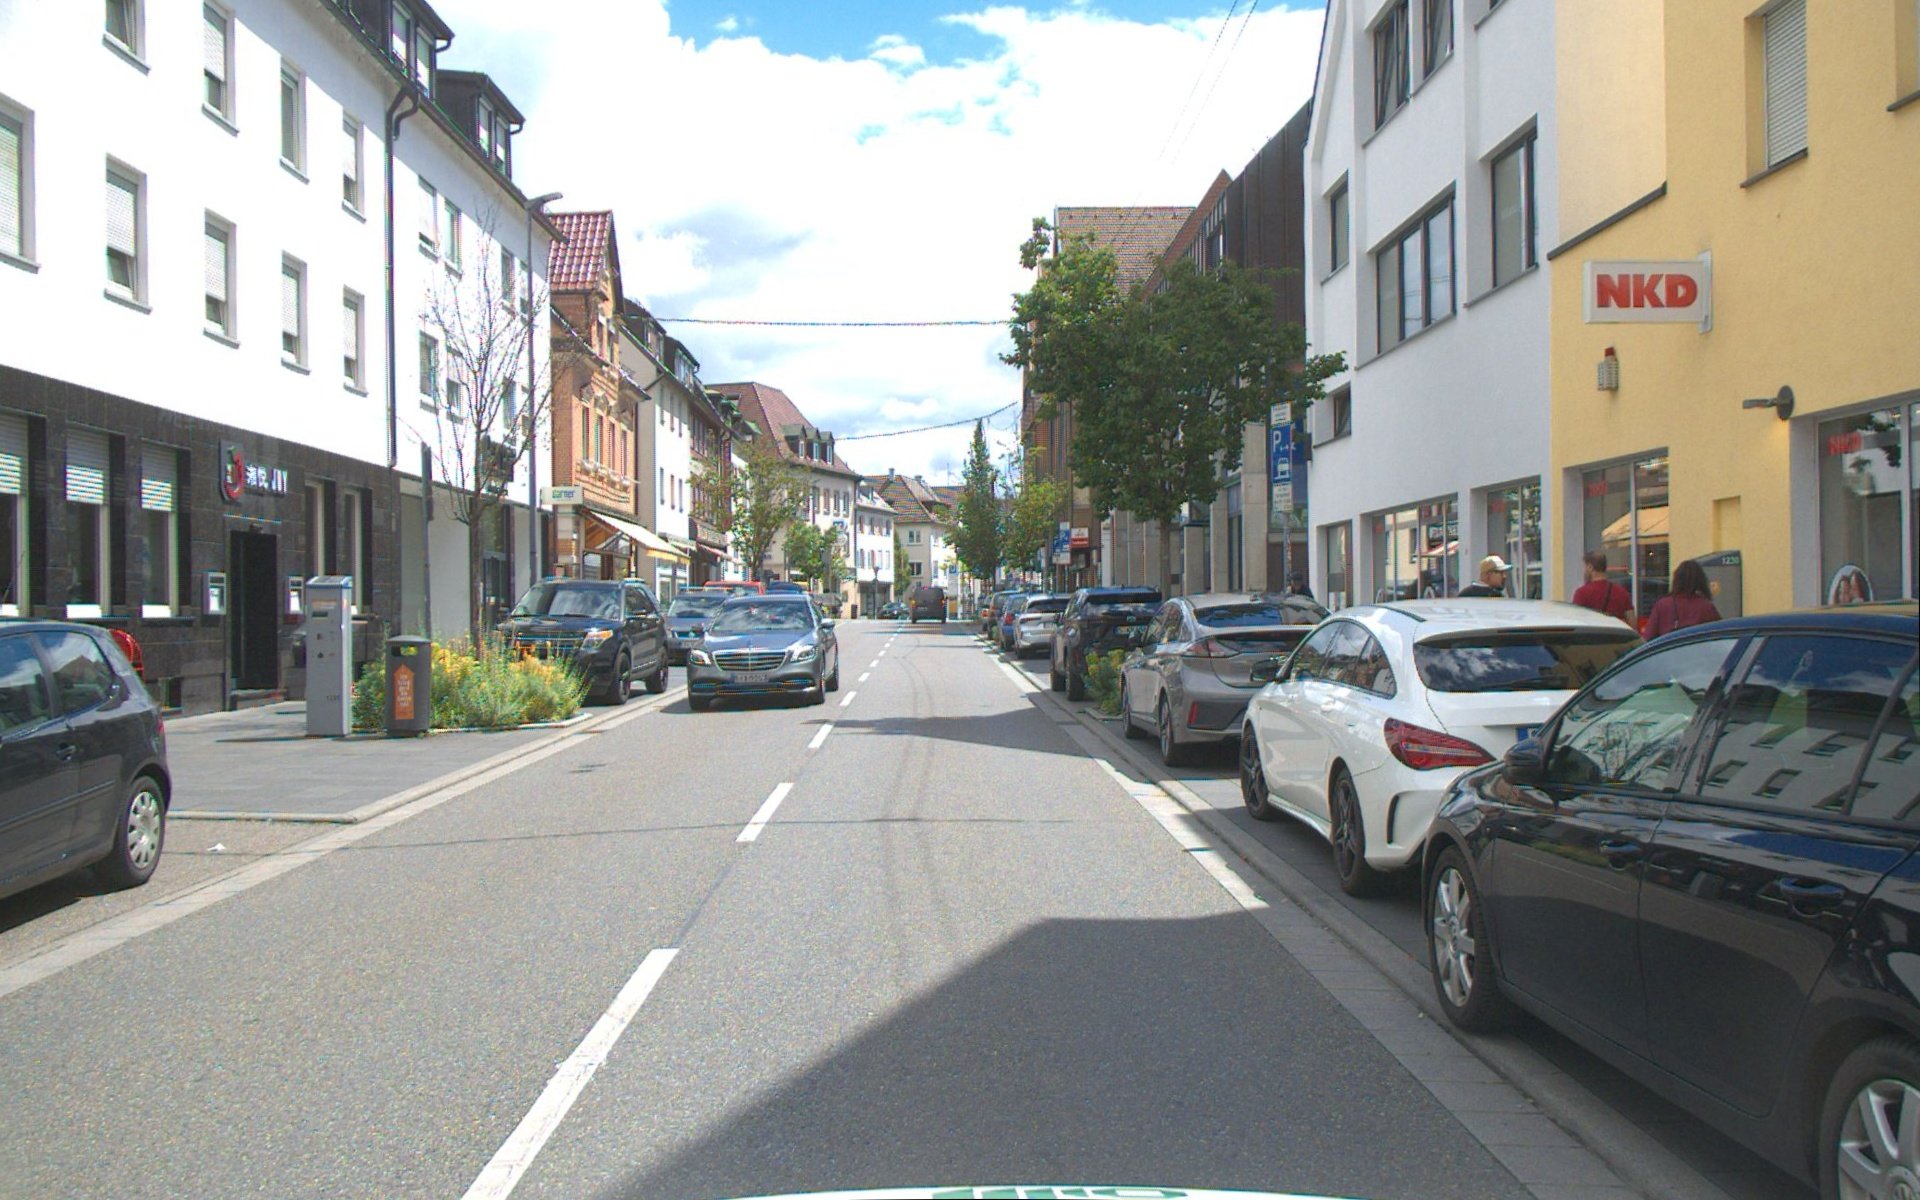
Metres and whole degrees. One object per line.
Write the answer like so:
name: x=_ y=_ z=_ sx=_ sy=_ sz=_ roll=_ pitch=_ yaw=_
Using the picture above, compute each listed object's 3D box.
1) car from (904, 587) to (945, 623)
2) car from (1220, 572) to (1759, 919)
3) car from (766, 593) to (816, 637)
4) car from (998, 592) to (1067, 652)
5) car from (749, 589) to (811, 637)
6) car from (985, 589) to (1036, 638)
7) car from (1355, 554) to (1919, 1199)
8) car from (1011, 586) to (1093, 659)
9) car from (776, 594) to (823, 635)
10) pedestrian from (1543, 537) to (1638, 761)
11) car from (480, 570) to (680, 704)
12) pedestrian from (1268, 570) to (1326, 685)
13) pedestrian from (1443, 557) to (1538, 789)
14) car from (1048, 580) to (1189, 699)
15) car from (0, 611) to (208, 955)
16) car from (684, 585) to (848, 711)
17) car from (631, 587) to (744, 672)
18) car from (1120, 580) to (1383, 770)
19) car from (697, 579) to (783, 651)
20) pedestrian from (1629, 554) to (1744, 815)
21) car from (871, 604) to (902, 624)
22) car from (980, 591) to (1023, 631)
car: x=-1.951 y=0.280 z=88.755 sx=2.000 sy=1.881 sz=4.995 roll=1 pitch=-1 yaw=-3
car: x=2.728 y=0.668 z=9.771 sx=1.597 sy=1.502 sz=4.957 roll=1 pitch=-1 yaw=0
car: x=-6.431 y=0.547 z=63.199 sx=1.764 sy=1.632 sz=4.347 roll=-1 pitch=0 yaw=-4
car: x=1.911 y=0.589 z=44.629 sx=1.686 sy=1.520 sz=4.109 roll=1 pitch=-1 yaw=0
car: x=-6.306 y=0.431 z=58.205 sx=1.763 sy=1.626 sz=4.388 roll=0 pitch=0 yaw=-1
car: x=1.659 y=0.425 z=55.619 sx=1.576 sy=1.559 sz=3.795 roll=-1 pitch=0 yaw=0
car: x=2.611 y=0.639 z=4.599 sx=1.656 sy=1.497 sz=4.521 roll=1 pitch=1 yaw=-4
car: x=2.119 y=0.534 z=39.204 sx=1.686 sy=1.604 sz=4.428 roll=1 pitch=-1 yaw=0
car: x=-6.684 y=0.576 z=69.314 sx=1.763 sy=1.632 sz=4.216 roll=-1 pitch=0 yaw=-3
pedestrian: x=5.407 y=0.413 z=14.199 sx=0.576 sy=1.873 sz=0.576 roll=1 pitch=-1 yaw=-1
car: x=-5.557 y=0.524 z=24.790 sx=1.778 sy=1.786 sz=4.669 roll=1 pitch=-1 yaw=1
pedestrian: x=5.277 y=0.434 z=25.938 sx=0.726 sy=1.767 sz=0.757 roll=1 pitch=-1 yaw=-1
pedestrian: x=4.383 y=0.594 z=13.693 sx=0.576 sy=1.873 sz=0.576 roll=1 pitch=-1 yaw=-1
car: x=2.278 y=0.564 z=24.650 sx=1.686 sy=1.604 sz=4.109 roll=1 pitch=-1 yaw=0
car: x=-5.192 y=0.817 z=7.622 sx=1.755 sy=1.530 sz=4.174 roll=1 pitch=-1 yaw=-4
car: x=-2.699 y=0.613 z=23.996 sx=1.866 sy=1.591 sz=4.645 roll=-1 pitch=1 yaw=-1
car: x=-6.135 y=0.653 z=37.699 sx=1.779 sy=1.786 sz=4.463 roll=1 pitch=-1 yaw=0
car: x=2.557 y=0.624 z=15.493 sx=1.686 sy=1.502 sz=4.353 roll=1 pitch=-1 yaw=0
car: x=-6.202 y=0.425 z=47.095 sx=1.779 sy=1.922 sz=4.840 roll=1 pitch=-1 yaw=-1
pedestrian: x=5.356 y=0.610 z=12.218 sx=0.576 sy=1.873 sz=0.576 roll=1 pitch=-1 yaw=-1
car: x=-5.608 y=1.073 z=126.881 sx=1.590 sy=1.512 sz=3.808 roll=1 pitch=-1 yaw=10
car: x=1.686 y=0.432 z=67.563 sx=1.577 sy=1.521 sz=3.795 roll=-4 pitch=0 yaw=0
